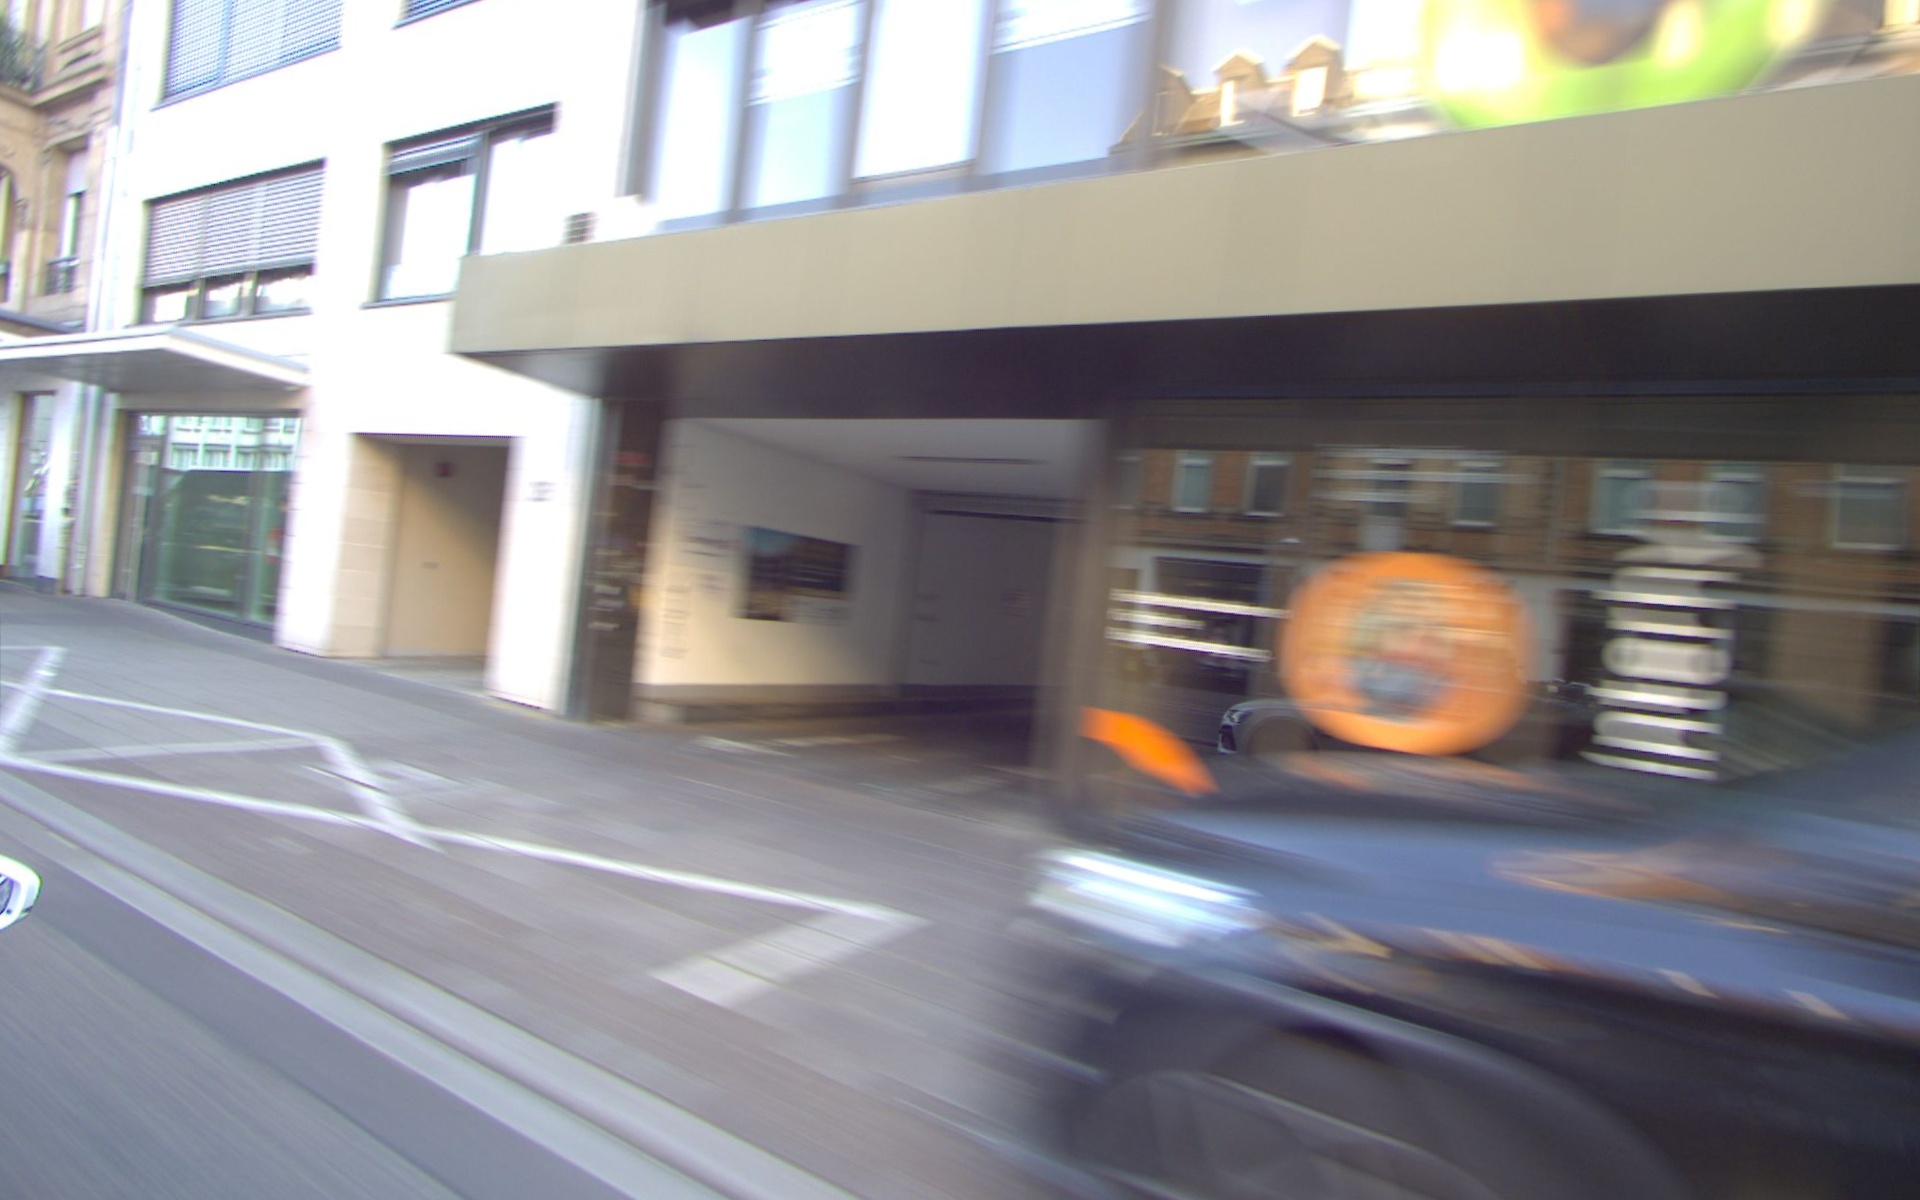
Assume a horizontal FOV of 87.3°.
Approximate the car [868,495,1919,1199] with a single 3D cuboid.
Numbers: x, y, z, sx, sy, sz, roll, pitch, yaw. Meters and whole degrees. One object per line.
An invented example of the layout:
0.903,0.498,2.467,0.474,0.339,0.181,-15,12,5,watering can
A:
2.308,0.898,1.897,4.593,1.757,1.985,6,2,32,car
